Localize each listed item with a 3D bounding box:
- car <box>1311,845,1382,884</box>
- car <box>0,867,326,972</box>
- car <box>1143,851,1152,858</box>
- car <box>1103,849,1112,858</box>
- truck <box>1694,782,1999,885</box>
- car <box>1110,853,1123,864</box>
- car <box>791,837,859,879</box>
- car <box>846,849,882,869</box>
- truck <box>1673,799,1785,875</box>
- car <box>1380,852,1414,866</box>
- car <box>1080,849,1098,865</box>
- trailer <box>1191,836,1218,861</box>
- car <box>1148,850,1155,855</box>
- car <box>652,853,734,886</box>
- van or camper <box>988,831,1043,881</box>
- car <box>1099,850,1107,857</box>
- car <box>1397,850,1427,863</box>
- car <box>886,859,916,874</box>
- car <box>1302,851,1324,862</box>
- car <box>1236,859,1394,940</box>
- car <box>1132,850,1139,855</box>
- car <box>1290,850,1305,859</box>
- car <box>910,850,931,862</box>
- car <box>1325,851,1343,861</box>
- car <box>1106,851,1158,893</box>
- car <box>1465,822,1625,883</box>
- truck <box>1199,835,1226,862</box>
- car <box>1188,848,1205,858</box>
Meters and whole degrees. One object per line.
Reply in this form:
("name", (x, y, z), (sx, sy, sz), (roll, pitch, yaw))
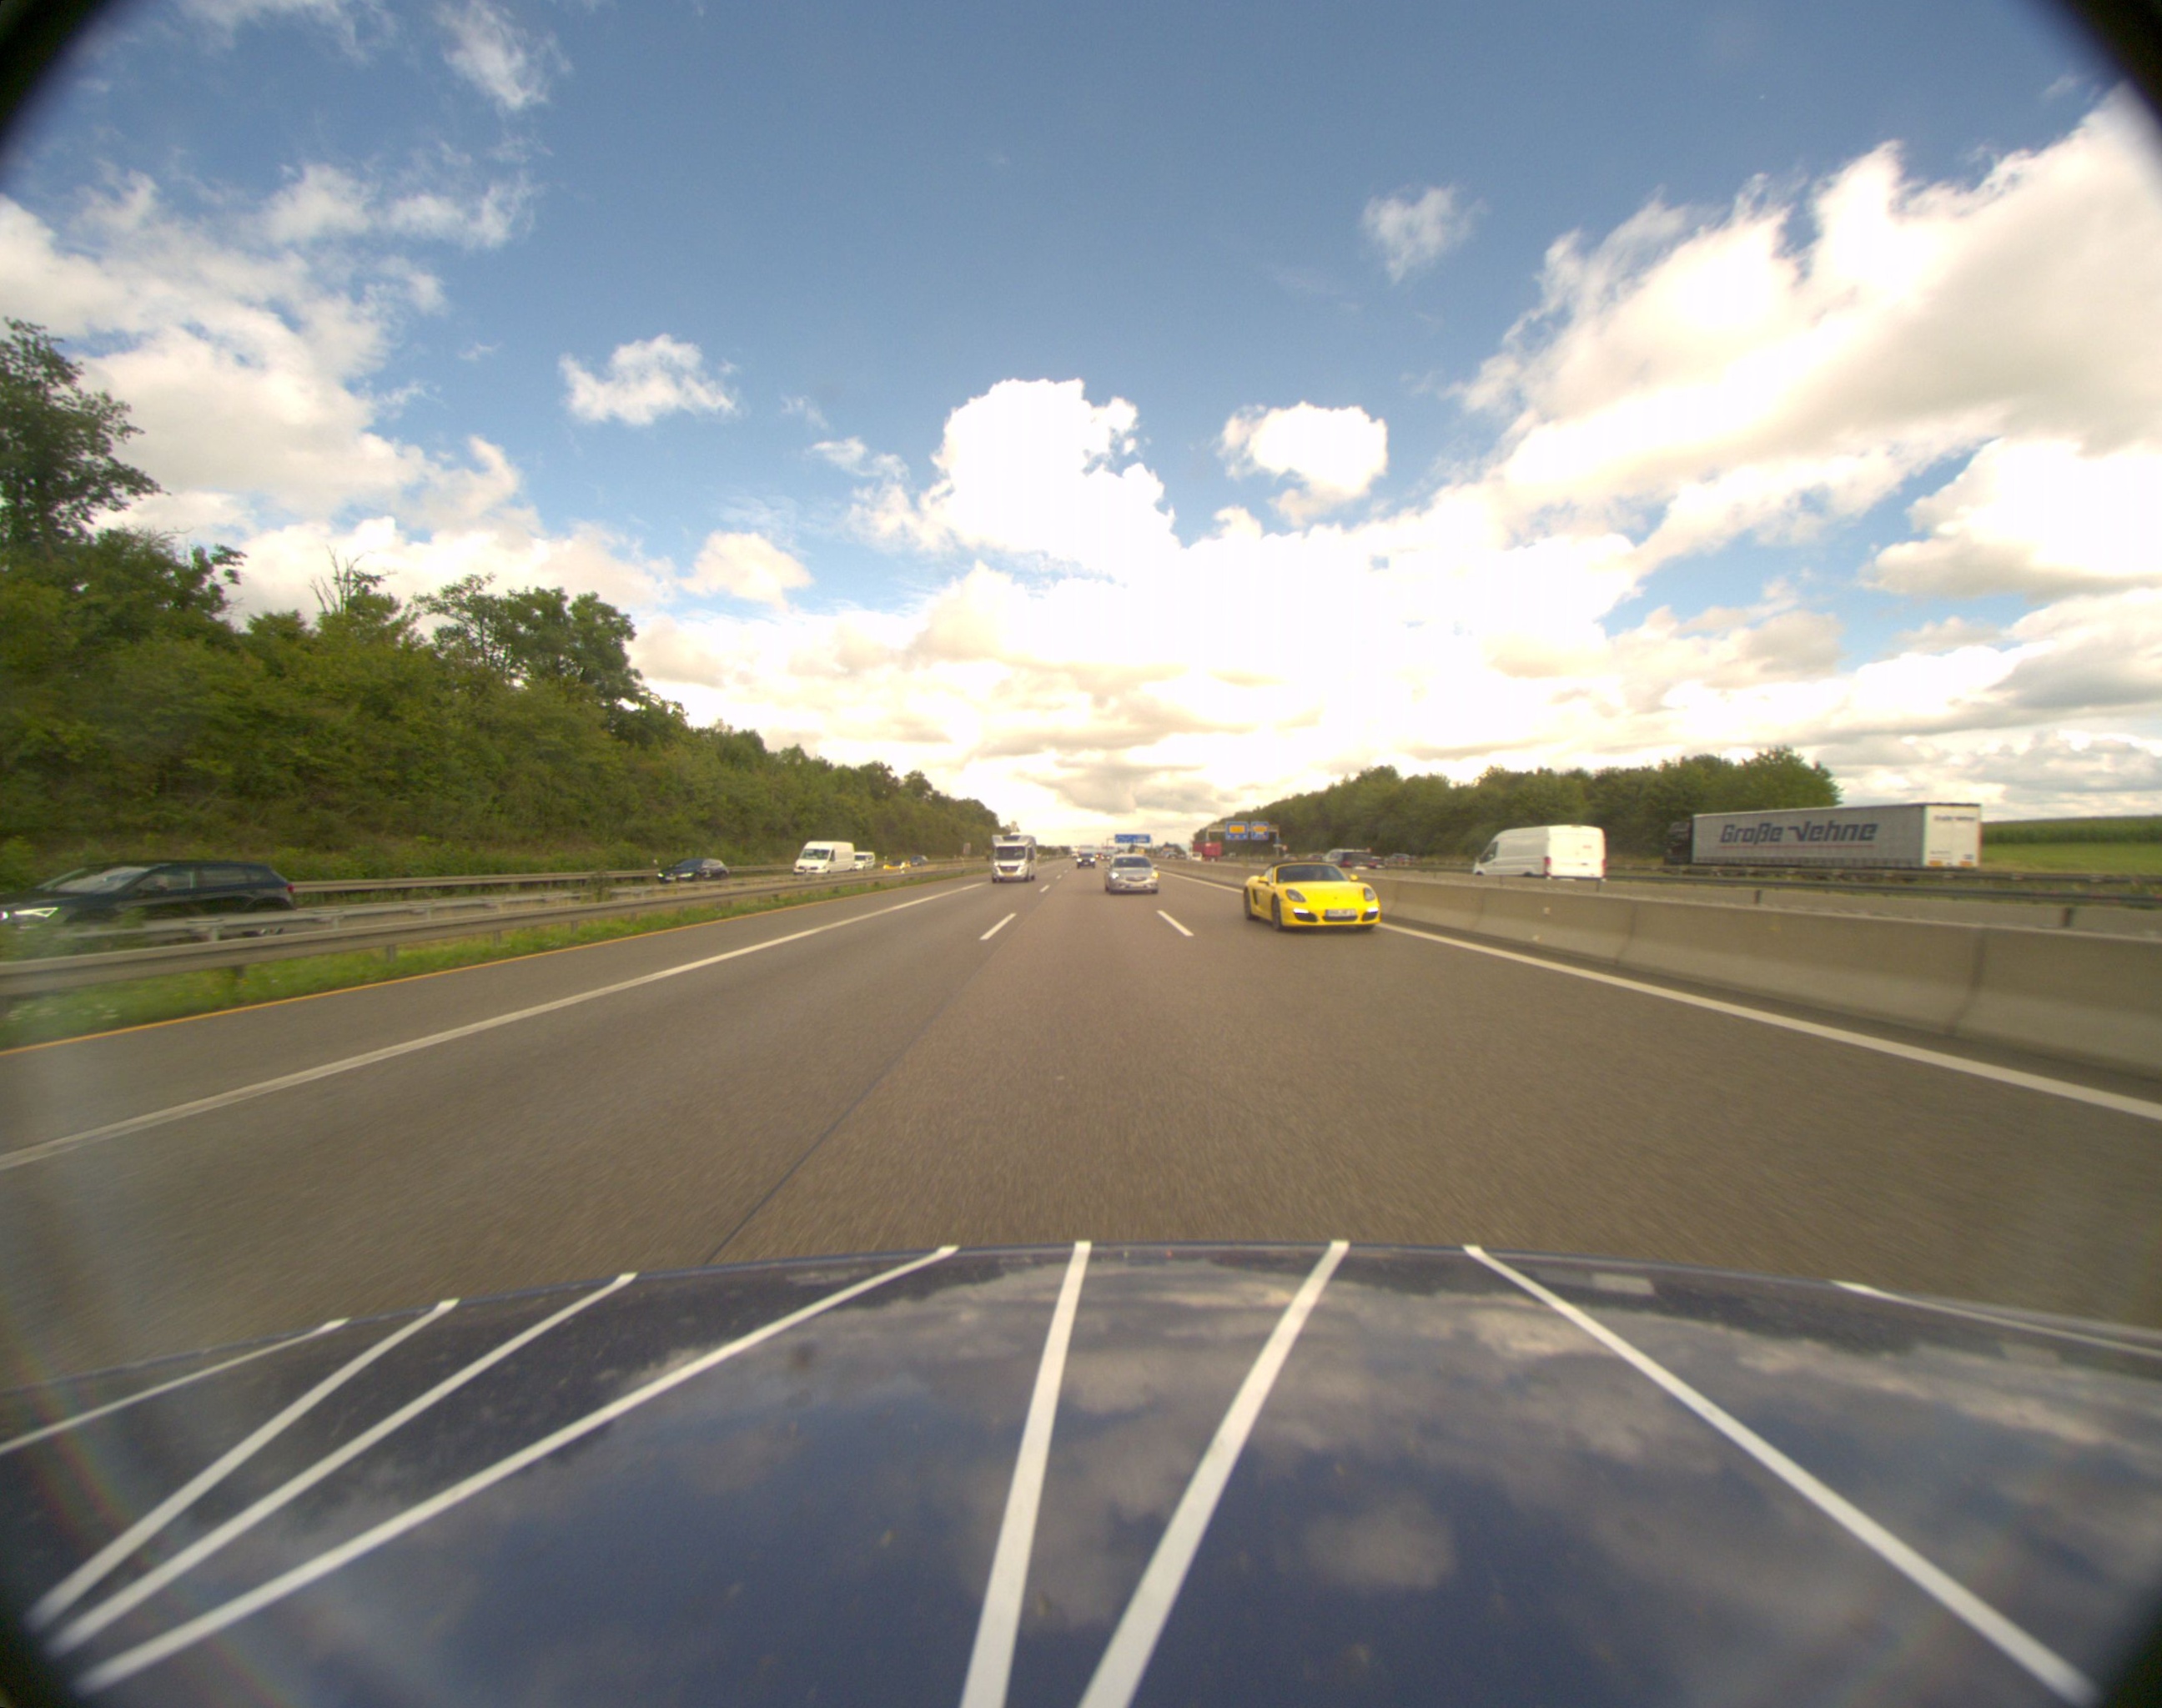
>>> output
("car", (12.697, 0.472, 36.675), (1.768, 1.721, 4.702), (-2, 0, 1))
("car", (-17.005, 1.039, 13.891), (1.848, 1.476, 4.525), (1, 0, 1))
("car", (15.003, 0.019, 172.383), (1.692, 1.496, 4.642), (-1, 0, 0))
("car", (5.804, -0.120, 166.388), (1.998, 2.002, 4.589), (0, 0, 1))
("truck", (41.750, -1.031, 42.860), (3.081, 4.775, 14.126), (-1, 1, 1))
("car", (4.574, 0.539, 98.283), (1.593, 1.307, 3.978), (1, 0, 0))
("car", (-16.558, 0.263, 49.640), (2.075, 2.539, 6.742), (0, 0, 0))
("car", (-19.859, 0.472, 69.636), (1.848, 1.741, 4.764), (-1, 0, 1))
("truck", (41.864, -1.068, 49.302), (3.053, 4.632, 5.072), (-1, 1, 1))
("car", (33.983, 0.505, 81.890), (1.719, 1.401, 4.520), (-1, 0, 0))
("car", (0.865, 0.322, 83.588), (1.876, 1.626, 4.859), (-1, 0, 1))
("trailer", (21.884, -1.045, 135.592), (3.054, 4.264, 10.654), (-1, 0, 0))
("car", (19.169, -0.513, 206.765), (1.584, 1.276, 4.241), (-1, 0, 1))
("car", (-20.198, 0.746, 39.812), (1.848, 1.593, 4.763), (1, 0, 0))
("van or camper", (-3.803, 0.098, 45.824), (2.475, 2.706, 7.661), (-2, 0, 1))
("car", (6.339, -0.105, 220.060), (1.998, 1.847, 4.286), (-1, 1, 1))
("car", (42.690, 0.287, 98.116), (1.751, 1.556, 4.804), (-1, 0, -1))
("car", (-16.136, 1.110, 68.312), (1.716, 1.175, 4.168), (-1, 0, 0))
("car", (34.661, 0.356, 113.709), (1.768, 1.523, 4.941), (-1, 0, 0))
("car", (4.396, 0.781, 14.990), (1.811, 1.307, 4.247), (1, 0, 0))
("car", (15.434, -0.426, 216.856), (1.761, 1.394, 4.074), (-1, 0, 1))
("car", (39.188, 0.106, 137.674), (1.671, 1.547, 3.999), (-1, 1, 1))
("car", (-19.868, 0.268, 94.283), (1.716, 1.407, 4.169), (0, 0, 1))
("car", (42.233, 0.264, 127.015), (1.671, 1.547, 3.999), (-1, 1, 1))
("car", (1.900, 0.622, 29.364), (1.687, 1.476, 4.615), (-1, 0, 0))
("car", (16.565, -0.069, 27.633), (2.361, 1.956, 5.833), (-1, 0, 1))
("truck", (21.848, -0.958, 126.447), (3.054, 4.264, 8.587), (-1, 0, 0))
("car", (17.367, -0.184, 114.536), (1.768, 1.523, 4.941), (-1, 0, 0))
